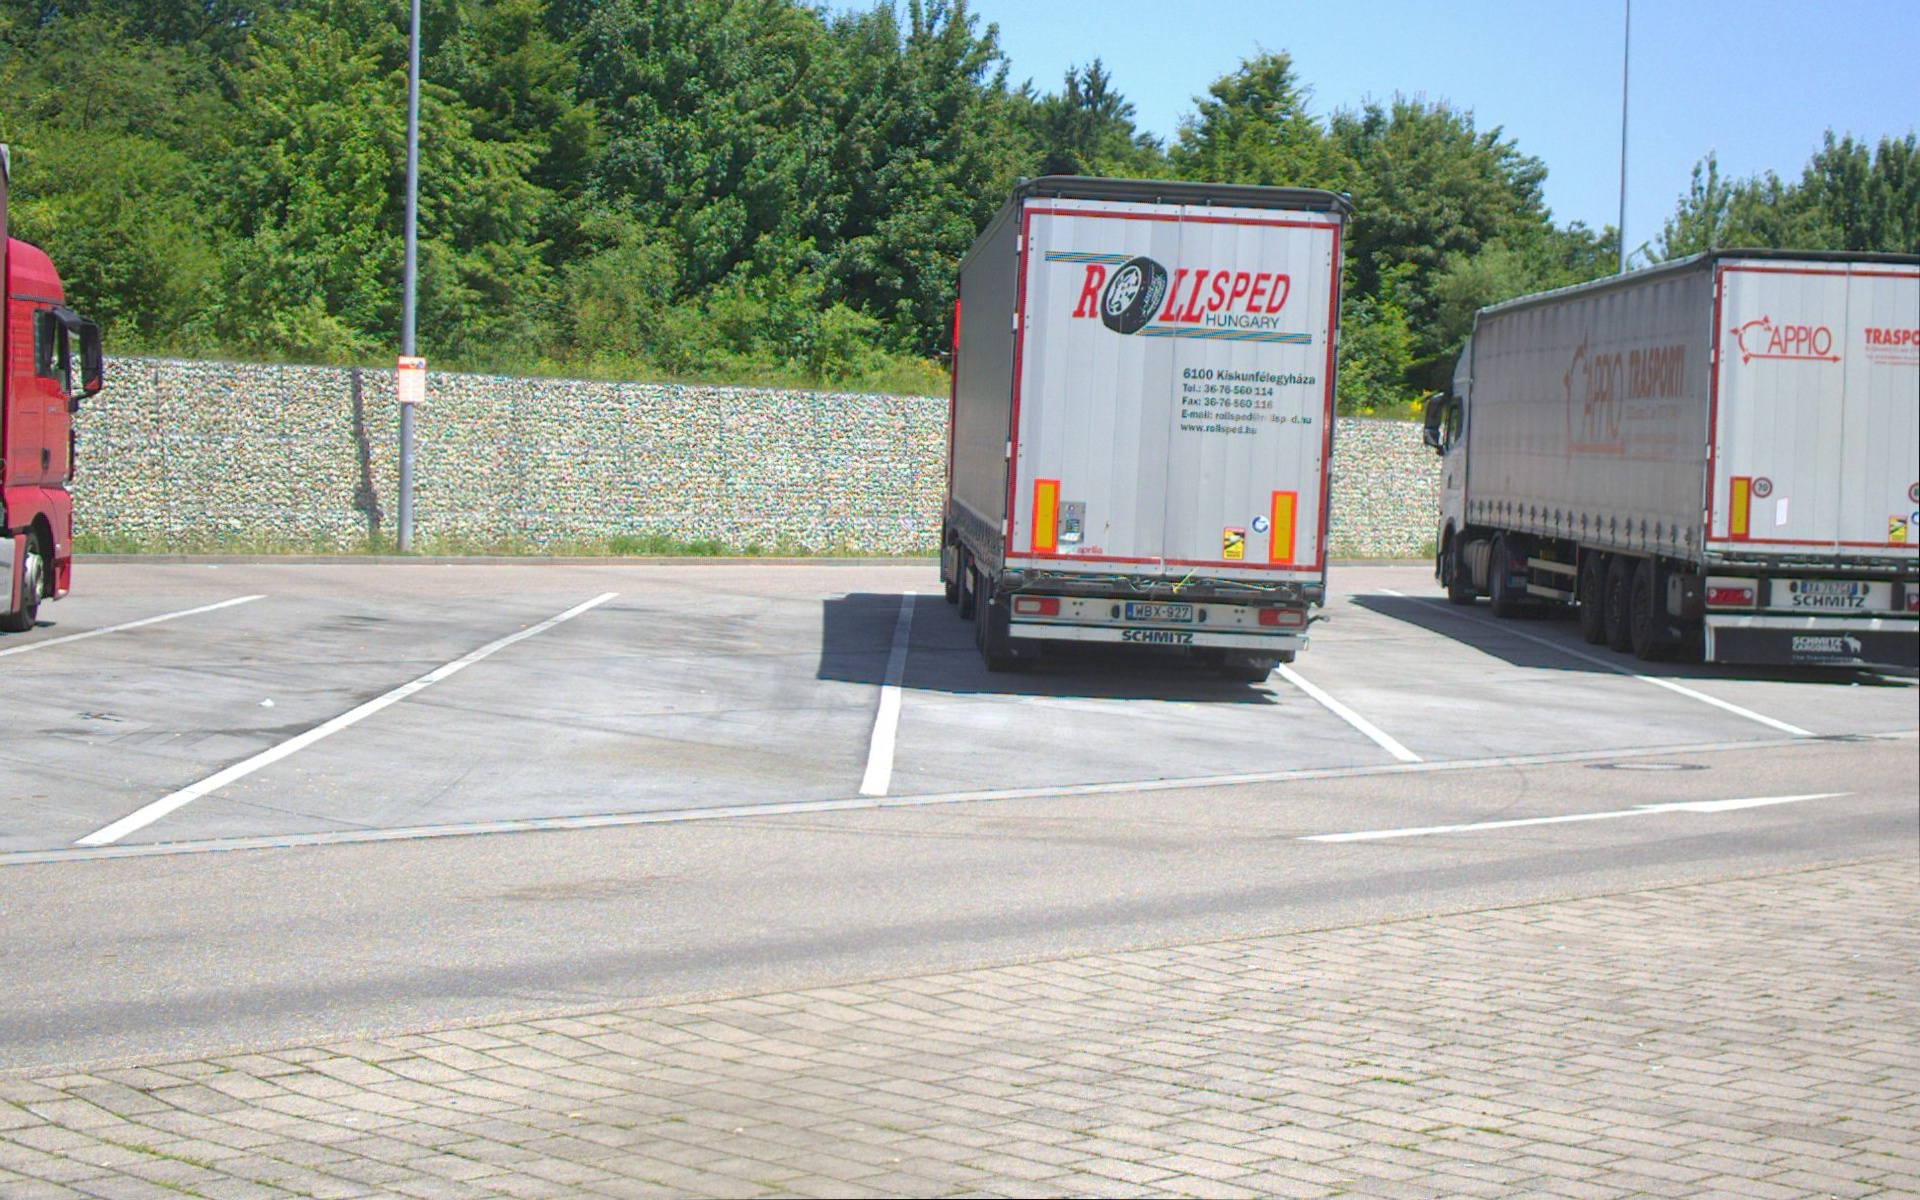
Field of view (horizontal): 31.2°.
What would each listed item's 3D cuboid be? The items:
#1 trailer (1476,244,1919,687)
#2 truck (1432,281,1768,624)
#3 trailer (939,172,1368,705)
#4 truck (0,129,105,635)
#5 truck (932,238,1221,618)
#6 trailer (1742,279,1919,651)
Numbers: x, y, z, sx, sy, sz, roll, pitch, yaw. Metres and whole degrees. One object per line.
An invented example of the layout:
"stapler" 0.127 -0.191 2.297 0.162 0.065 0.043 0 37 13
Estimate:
"trailer" 8.187 -1.569 37.970 2.866 4.023 12.439 2 3 0
"truck" 8.127 -1.951 44.597 2.866 4.023 6.957 2 3 0
"trailer" 1.443 -1.636 33.632 2.866 4.023 14.243 2 3 -2
"truck" -9.144 -1.811 27.992 2.696 4.099 6.240 2 3 0
"truck" 1.230 -2.054 40.711 2.866 4.023 7.028 2 3 -2
"trailer" 11.842 -1.530 39.034 2.866 4.023 12.439 2 3 0
